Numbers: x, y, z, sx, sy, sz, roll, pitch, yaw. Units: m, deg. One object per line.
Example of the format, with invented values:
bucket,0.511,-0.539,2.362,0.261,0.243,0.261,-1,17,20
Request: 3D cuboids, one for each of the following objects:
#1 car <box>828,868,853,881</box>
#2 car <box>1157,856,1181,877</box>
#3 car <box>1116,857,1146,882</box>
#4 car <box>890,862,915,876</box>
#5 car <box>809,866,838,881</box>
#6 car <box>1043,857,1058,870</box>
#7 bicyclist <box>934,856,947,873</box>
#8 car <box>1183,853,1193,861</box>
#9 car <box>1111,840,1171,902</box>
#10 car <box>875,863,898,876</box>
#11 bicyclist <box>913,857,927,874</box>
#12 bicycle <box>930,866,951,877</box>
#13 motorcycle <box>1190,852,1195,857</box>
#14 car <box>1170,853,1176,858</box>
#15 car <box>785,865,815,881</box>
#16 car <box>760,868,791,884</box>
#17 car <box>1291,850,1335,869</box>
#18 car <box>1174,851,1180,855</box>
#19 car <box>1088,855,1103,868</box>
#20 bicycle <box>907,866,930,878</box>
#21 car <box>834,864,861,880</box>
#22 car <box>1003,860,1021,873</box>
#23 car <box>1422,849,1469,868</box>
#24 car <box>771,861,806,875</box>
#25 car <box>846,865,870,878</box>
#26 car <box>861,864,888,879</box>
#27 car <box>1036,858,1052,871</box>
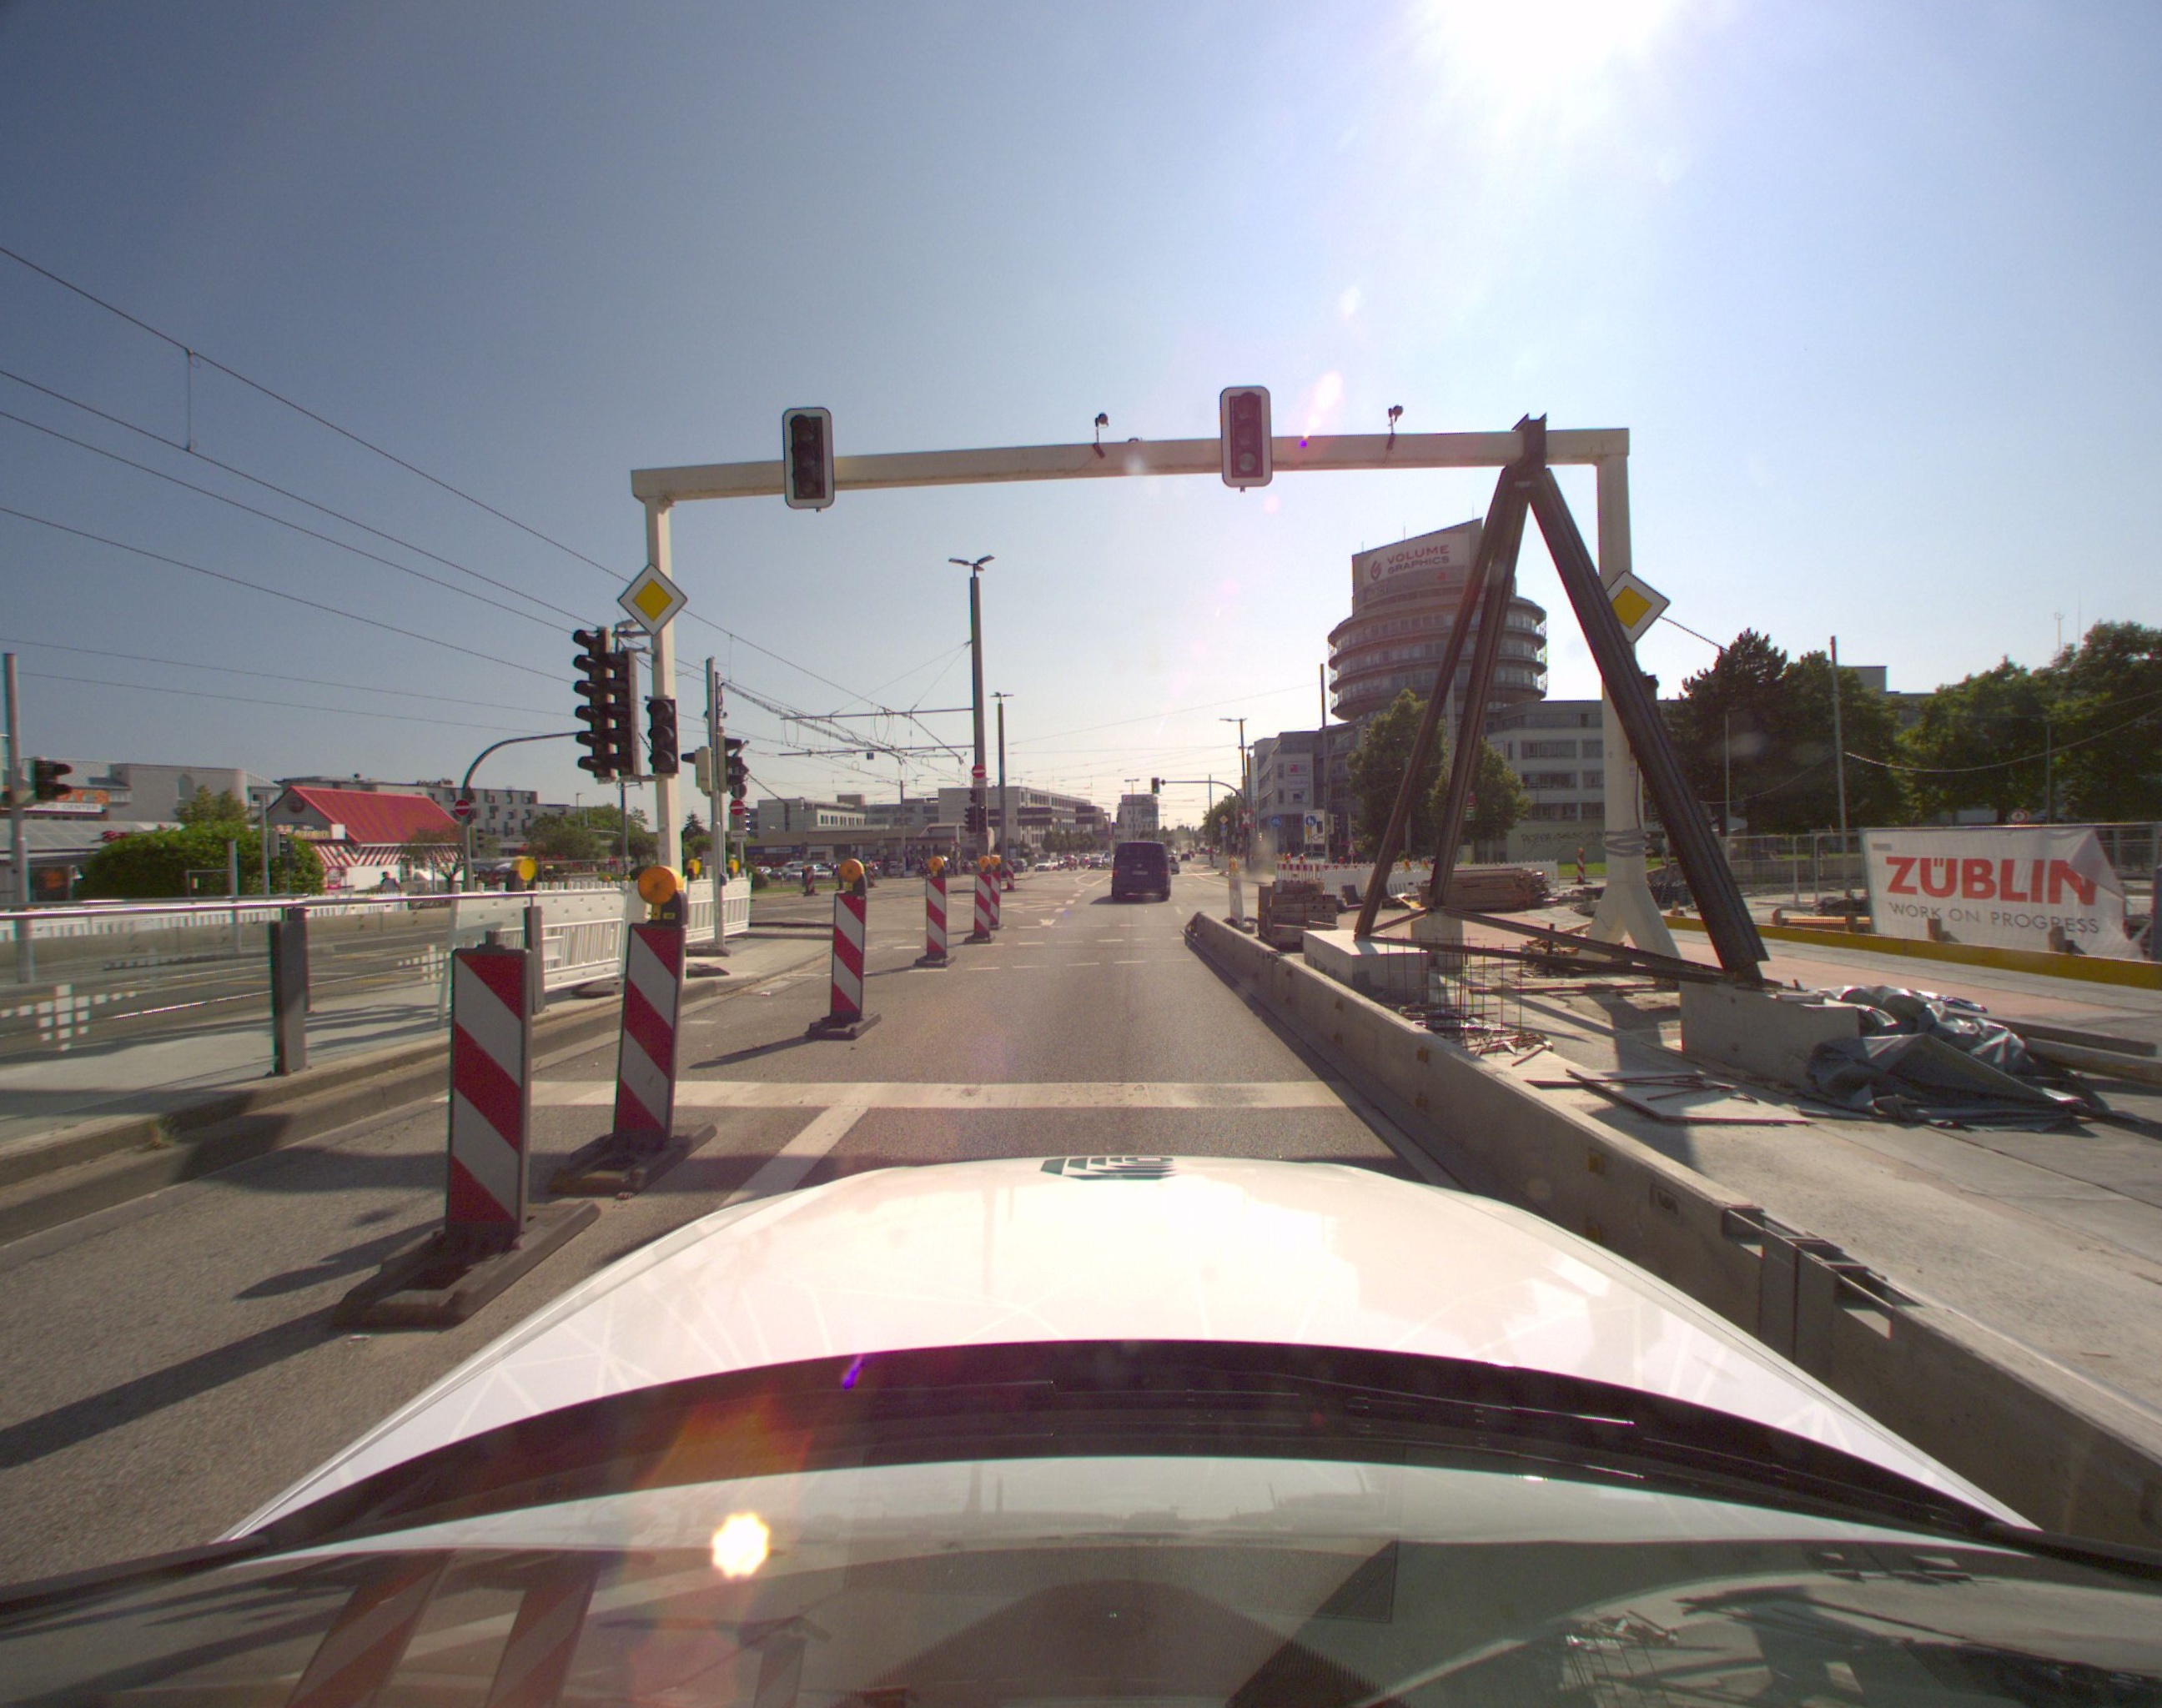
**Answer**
car,-31.205,2.646,105.725,1.771,1.538,4.002,-3,0,2
car,6.994,0.976,65.052,1.677,1.606,3.618,0,1,2
car,3.102,0.931,51.029,1.820,1.486,3.904,0,0,2
car,-20.307,1.682,92.812,1.770,1.538,4.002,-1,0,2
car,-29.210,2.170,92.571,1.771,1.538,4.002,-3,0,2
car,-3.935,1.233,105.753,1.742,1.486,3.999,-2,0,0
bicyclist,-13.904,1.050,80.790,0.869,1.578,0.973,3,0,16
car,19.114,0.515,145.971,1.734,1.475,3.893,-1,0,8
car,2.104,0.494,27.778,1.878,1.934,4.007,0,1,6
car,-24.000,1.921,100.476,1.770,1.538,4.002,0,0,2
bicyclist,-15.528,1.109,78.620,0.869,1.578,0.973,3,0,16
bicycle,-13.922,1.708,80.833,0.874,1.069,2.819,3,0,16
motorcycle,26.681,0.148,194.722,1.155,1.242,3.015,-1,0,9
car,27.044,0.518,238.785,1.543,1.340,3.015,0,0,0
car,-31.828,2.137,92.339,1.771,1.538,4.002,-3,0,2
car,-34.512,2.468,92.107,1.771,1.538,4.002,-3,0,2
car,22.305,0.516,78.360,3.799,1.797,1.682,0,1,1
car,30.339,-0.398,257.295,1.543,1.340,3.015,0,0,0
car,1.710,0.867,96.935,1.742,1.530,3.999,-2,0,0
bicycle,-15.613,1.763,78.400,0.874,1.069,2.819,3,0,16
car,-26.300,2.006,91.867,1.771,1.538,4.002,-3,0,2
car,-8.435,1.526,99.622,1.742,1.486,3.999,-2,0,0
car,35.181,0.461,78.742,3.799,1.797,1.682,0,1,1
car,-39.169,1.861,109.201,4.022,1.538,1.762,-3,0,-41
car,-27.447,2.163,100.439,1.770,1.538,4.002,0,0,2
car,-23.202,1.977,91.558,1.771,1.538,4.002,-3,0,2
car,-4.512,1.316,99.363,1.742,1.481,3.999,-2,0,0
